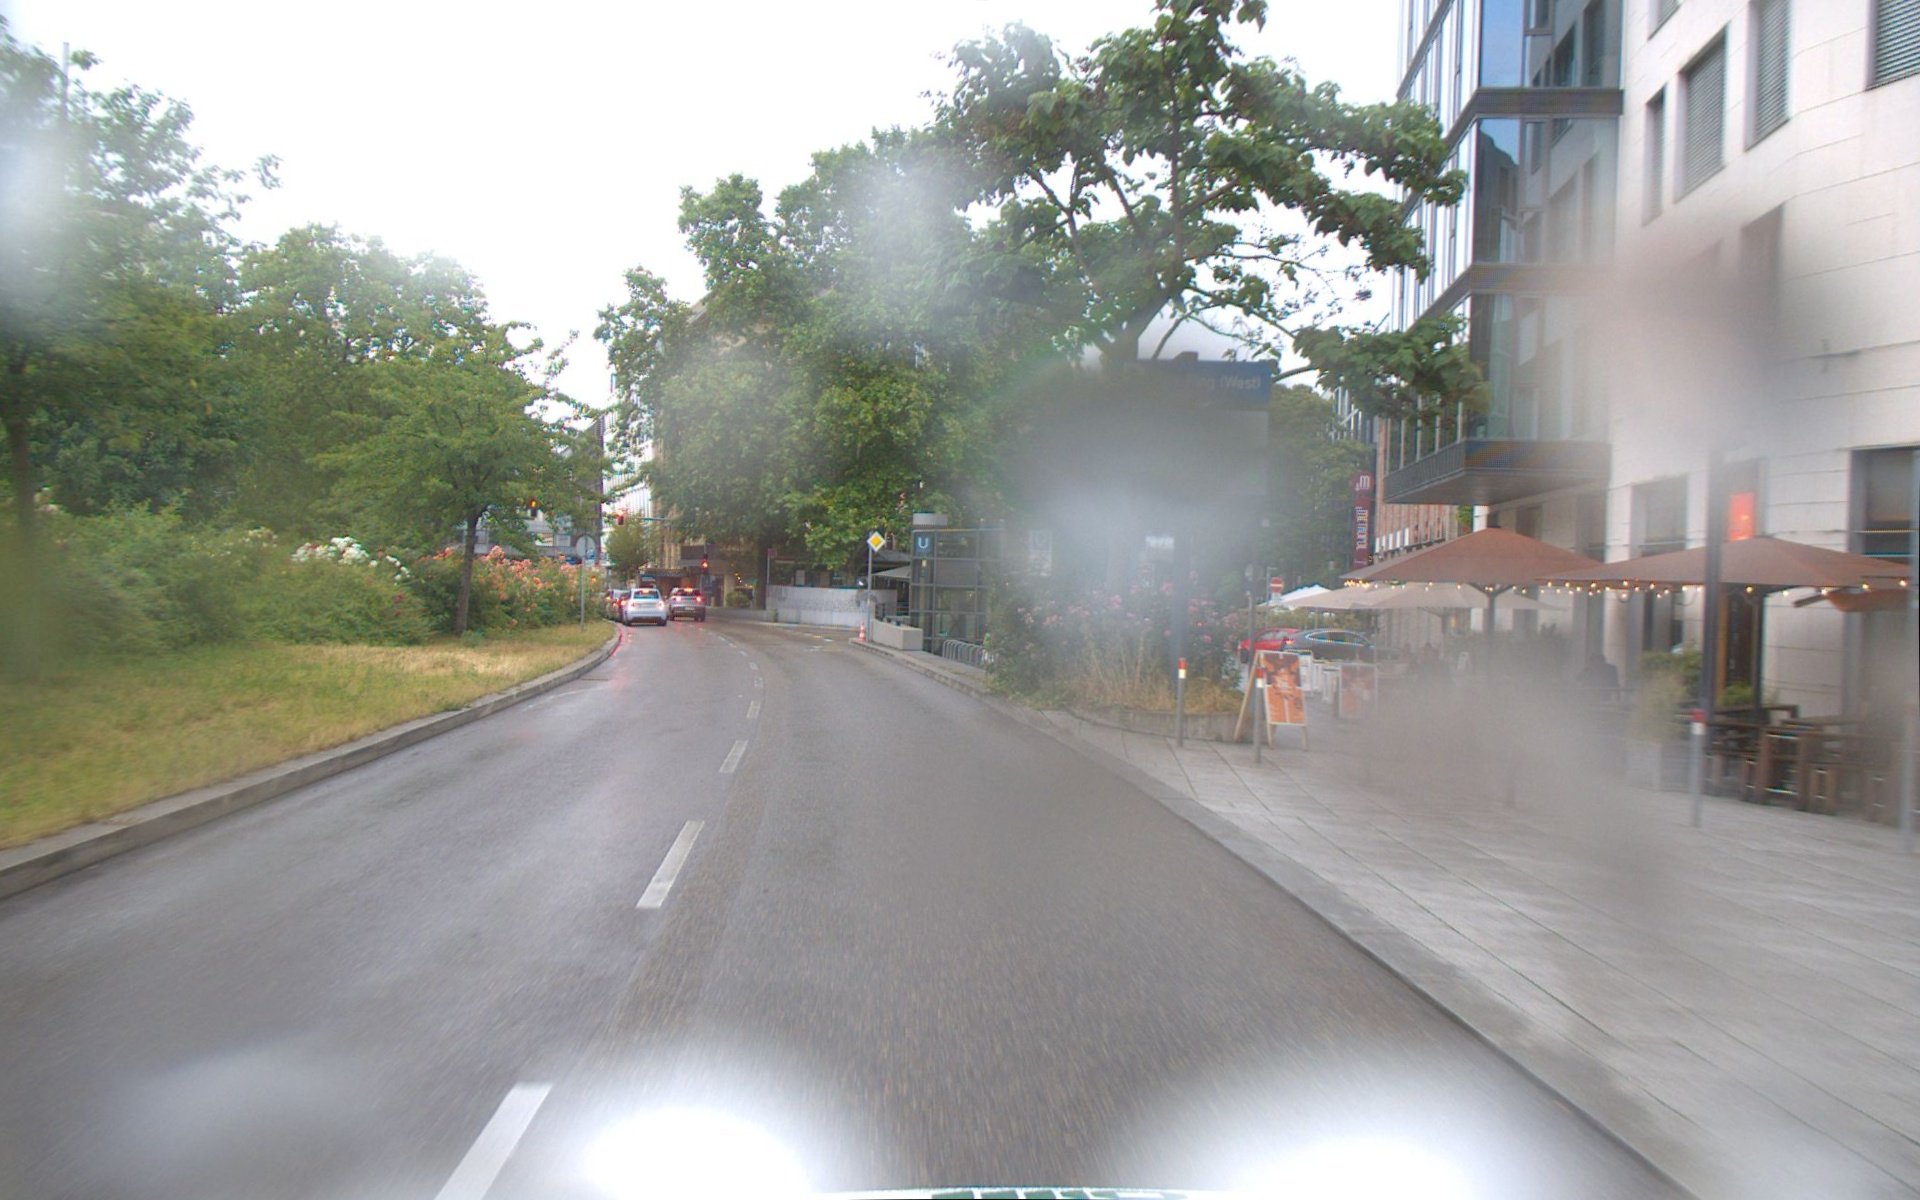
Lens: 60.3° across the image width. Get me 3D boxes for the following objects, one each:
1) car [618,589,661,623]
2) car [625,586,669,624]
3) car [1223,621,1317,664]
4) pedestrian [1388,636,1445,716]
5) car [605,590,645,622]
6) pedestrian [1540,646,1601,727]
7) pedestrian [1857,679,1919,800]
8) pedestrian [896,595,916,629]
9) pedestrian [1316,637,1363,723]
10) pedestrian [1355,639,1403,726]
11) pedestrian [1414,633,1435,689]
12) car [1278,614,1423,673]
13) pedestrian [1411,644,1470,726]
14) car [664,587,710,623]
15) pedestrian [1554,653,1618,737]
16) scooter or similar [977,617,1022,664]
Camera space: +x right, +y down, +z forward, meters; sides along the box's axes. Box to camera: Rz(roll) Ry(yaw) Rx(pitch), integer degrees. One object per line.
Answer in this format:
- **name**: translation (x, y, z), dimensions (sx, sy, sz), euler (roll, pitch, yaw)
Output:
- **car**: translation (-14.701, 0.239, 75.836), dimensions (1.663, 1.488, 4.113), euler (0, 0, -15)
- **car**: translation (-13.124, 0.199, 69.260), dimensions (1.564, 1.517, 3.491), euler (0, 0, -15)
- **car**: translation (12.181, 1.667, 65.150), dimensions (1.596, 1.440, 3.485), euler (4, 0, -35)
- **pedestrian**: translation (8.201, 1.363, 29.743), dimensions (0.800, 1.349, 0.636), euler (4, -1, 4)
- **car**: translation (-16.627, 0.275, 81.960), dimensions (1.663, 1.488, 4.328), euler (0, 0, -15)
- **pedestrian**: translation (10.847, 1.528, 29.417), dimensions (0.800, 1.349, 0.636), euler (4, -1, 4)
- **pedestrian**: translation (11.061, 1.635, 19.407), dimensions (0.617, 1.349, 0.633), euler (4, -1, -16)
- **pedestrian**: translation (-2.400, 0.521, 73.076), dimensions (0.672, 1.434, 0.902), euler (4, -1, -11)
- **pedestrian**: translation (6.224, 1.300, 27.168), dimensions (0.593, 1.349, 0.568), euler (4, -1, 4)
- **pedestrian**: translation (6.868, 1.344, 27.135), dimensions (0.593, 1.349, 0.568), euler (4, -1, 4)
- **pedestrian**: translation (11.925, 1.557, 42.422), dimensions (0.425, 1.428, 0.478), euler (1, -1, 6)
- **car**: translation (13.490, 1.476, 57.347), dimensions (4.634, 1.720, 2.006), euler (3, 0, 8)
- **pedestrian**: translation (8.333, 1.464, 28.711), dimensions (0.800, 1.349, 0.636), euler (4, -1, 4)
- **car**: translation (-14.046, 0.250, 84.941), dimensions (1.915, 1.695, 4.328), euler (2, -1, -15)
- **pedestrian**: translation (10.776, 1.628, 28.502), dimensions (0.800, 1.349, 0.636), euler (4, -1, 4)
- **scooter or similar**: translation (1.049, 1.079, 44.221), dimensions (1.093, 1.178, 0.442), euler (3, 0, -11)
